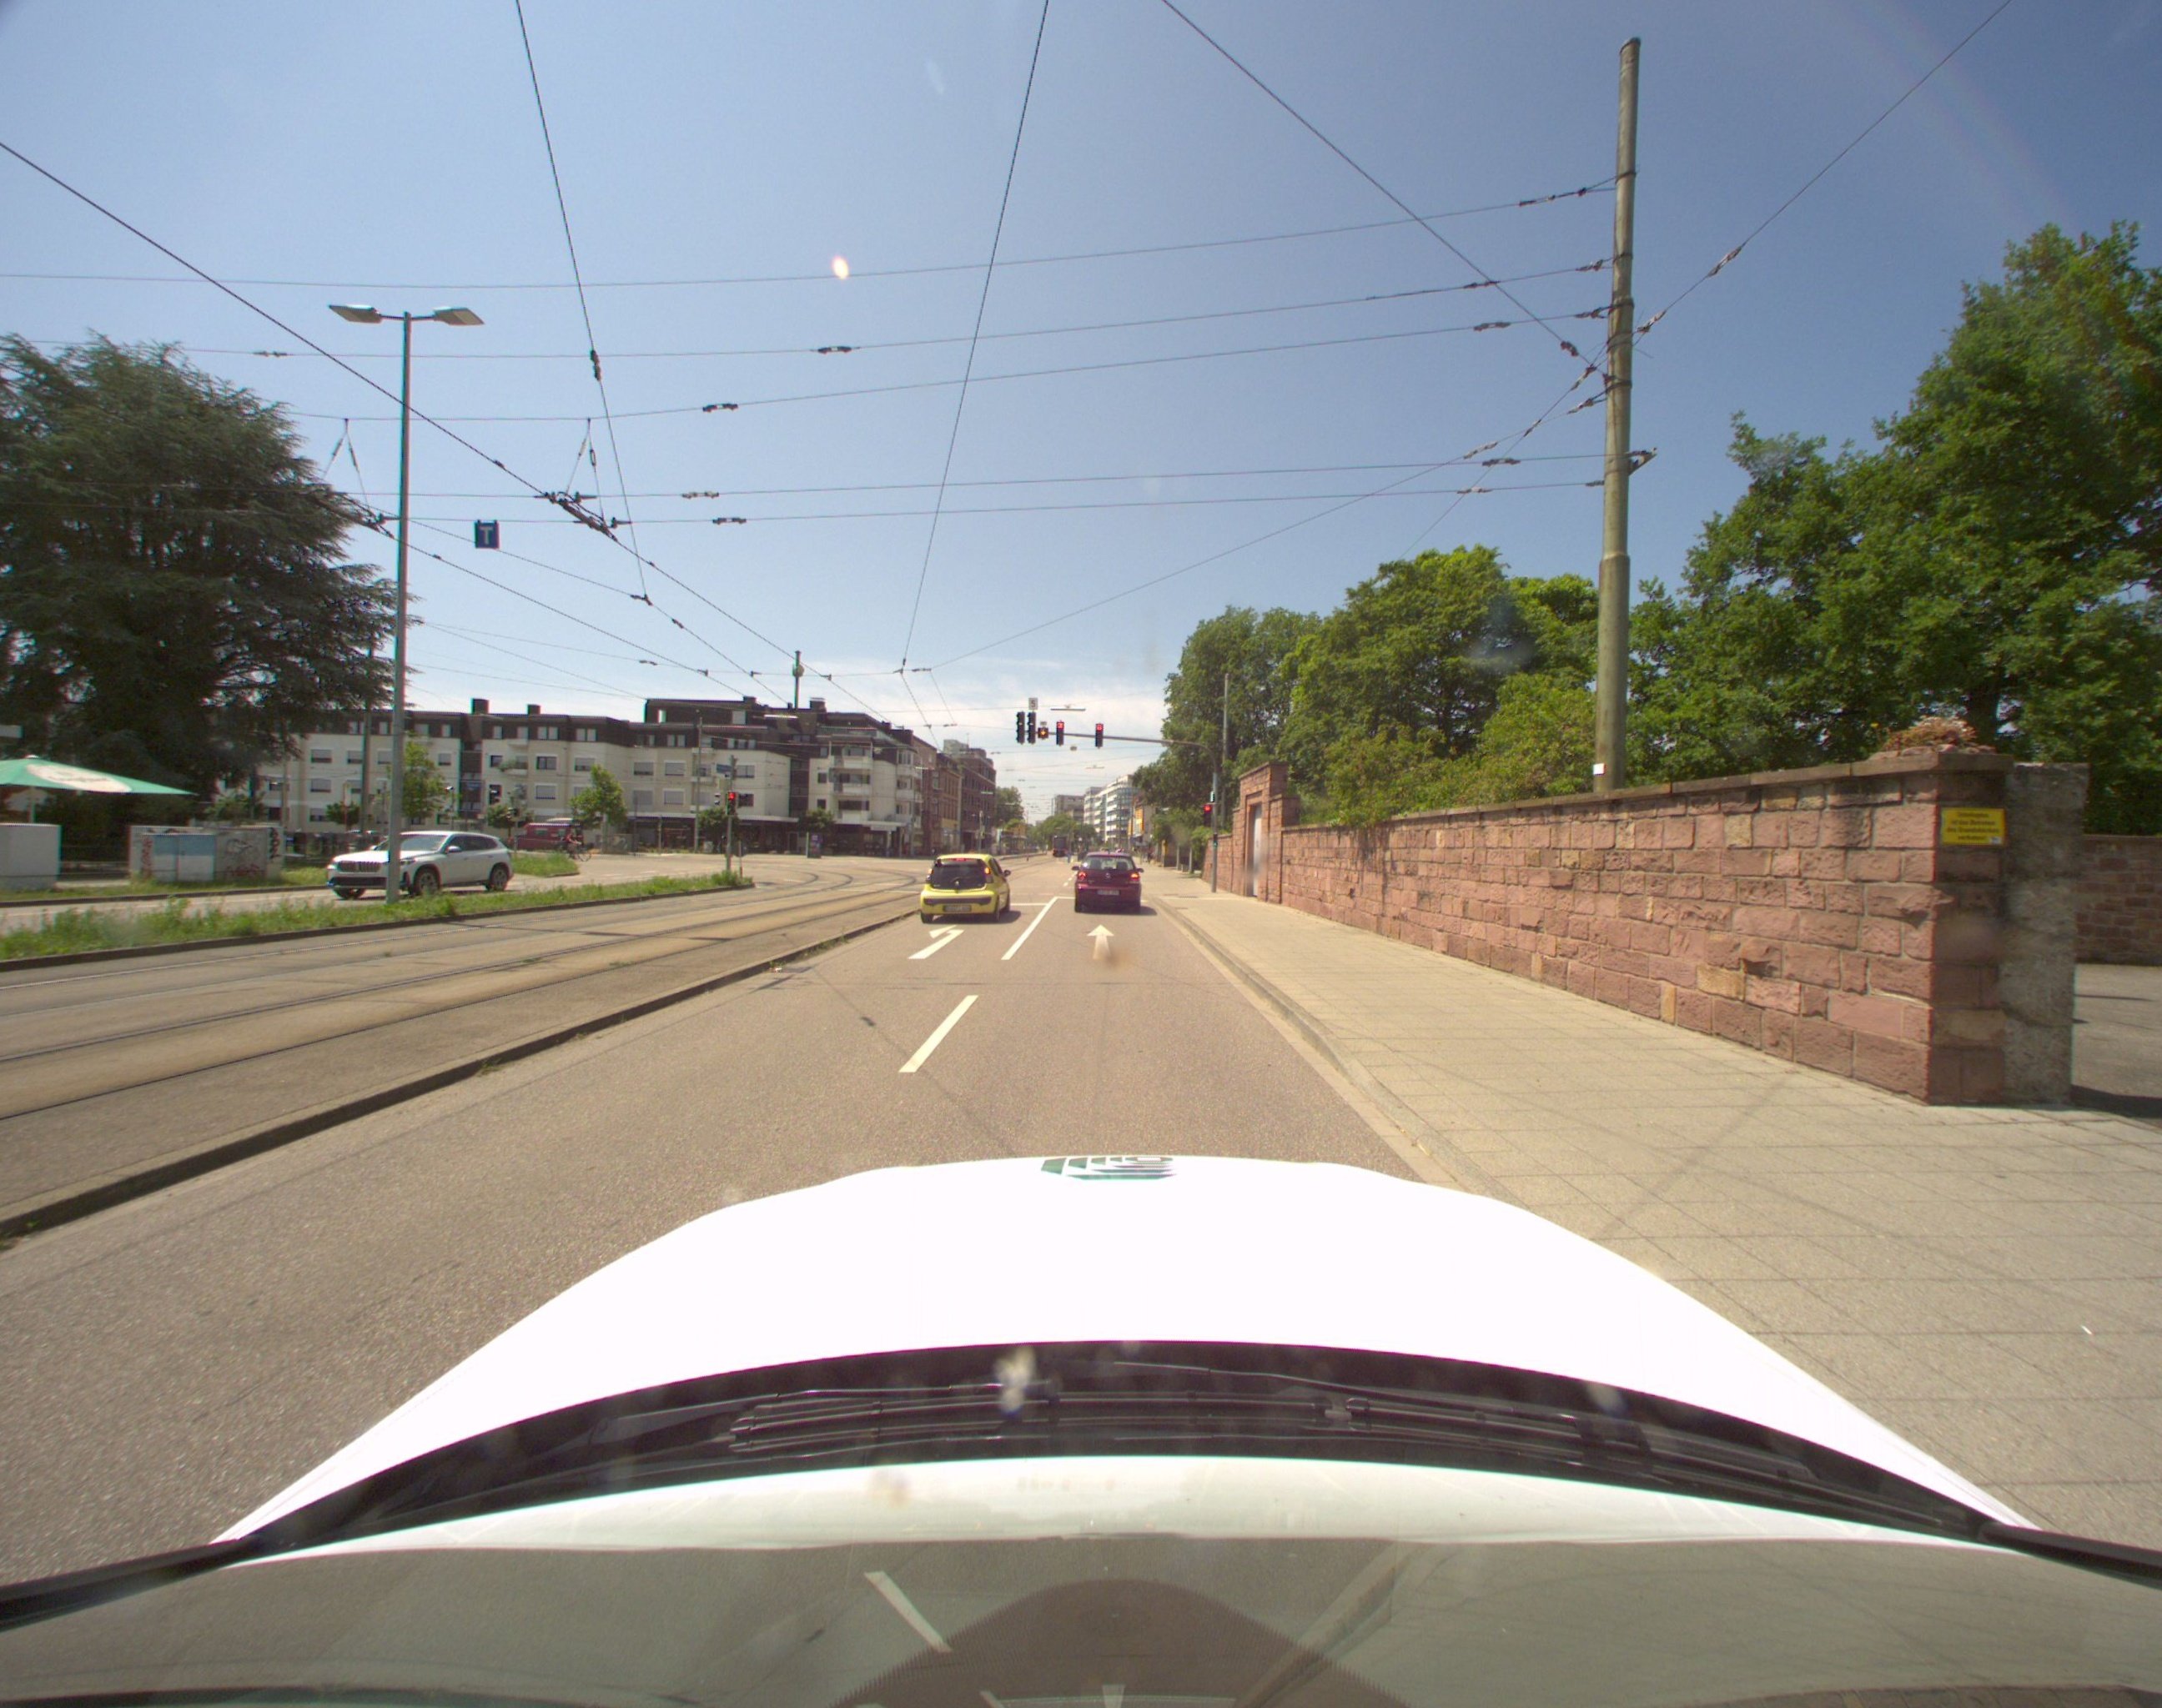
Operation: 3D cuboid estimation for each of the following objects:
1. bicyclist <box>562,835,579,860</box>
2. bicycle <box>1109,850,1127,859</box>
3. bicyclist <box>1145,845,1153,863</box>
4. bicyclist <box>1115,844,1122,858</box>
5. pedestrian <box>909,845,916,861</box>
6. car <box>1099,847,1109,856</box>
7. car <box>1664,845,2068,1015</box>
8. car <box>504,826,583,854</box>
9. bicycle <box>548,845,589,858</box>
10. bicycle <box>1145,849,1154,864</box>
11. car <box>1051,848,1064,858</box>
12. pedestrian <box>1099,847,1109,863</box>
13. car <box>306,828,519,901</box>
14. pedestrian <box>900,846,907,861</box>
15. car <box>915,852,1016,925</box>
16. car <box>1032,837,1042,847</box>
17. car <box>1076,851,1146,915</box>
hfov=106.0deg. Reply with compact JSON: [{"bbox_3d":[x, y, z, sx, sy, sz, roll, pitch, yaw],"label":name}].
[{"bbox_3d":[-30.848,-0.371,49.211,0.752,1.501,0.479,0,-1,-20],"label":"bicyclist"},{"bbox_3d":[3.973,0.064,86.437,1.861,1.008,0.578,0,-1,-3],"label":"bicycle"},{"bbox_3d":[7.252,0.009,86.910,0.719,1.818,0.889,0,-1,1],"label":"bicyclist"},{"bbox_3d":[3.984,-0.316,86.424,0.764,1.406,0.506,0,-1,-3],"label":"bicyclist"},{"bbox_3d":[-18.682,-0.098,90.271,0.614,1.754,0.499,1,-1,-43],"label":"pedestrian"},{"bbox_3d":[3.610,-0.371,126.650,1.567,1.415,3.721,-1,0,1],"label":"car"},{"bbox_3d":[8.071,0.667,8.747,1.476,1.482,2.944,2,0,-1],"label":"car"},{"bbox_3d":[-44.993,-1.145,68.292,5.048,2.341,2.244,0,-1,0],"label":"car"},{"bbox_3d":[-30.894,-0.130,49.109,1.987,0.783,0.463,0,-1,-20],"label":"bicycle"},{"bbox_3d":[7.250,0.270,86.262,0.831,1.525,4.001,0,0,2],"label":"bicycle"},{"bbox_3d":[-3.772,-0.144,130.331,1.931,1.641,4.001,0,0,1],"label":"car"},{"bbox_3d":[2.455,0.120,86.841,0.981,1.661,0.916,1,0,-9],"label":"pedestrian"},{"bbox_3d":[-16.401,0.256,20.345,1.720,1.610,4.564,0,0,-3],"label":"car"},{"bbox_3d":[-19.037,-0.071,87.313,0.479,1.541,0.541,0,-1,26],"label":"pedestrian"},{"bbox_3d":[-2.501,0.699,18.345,1.717,1.445,3.293,-1,1,1],"label":"car"},{"bbox_3d":[-9.038,-2.531,167.811,1.728,2.013,4.002,1,0,2],"label":"car"},{"bbox_3d":[0.748,0.666,21.162,1.604,1.463,4.086,1,0,1],"label":"car"}]
